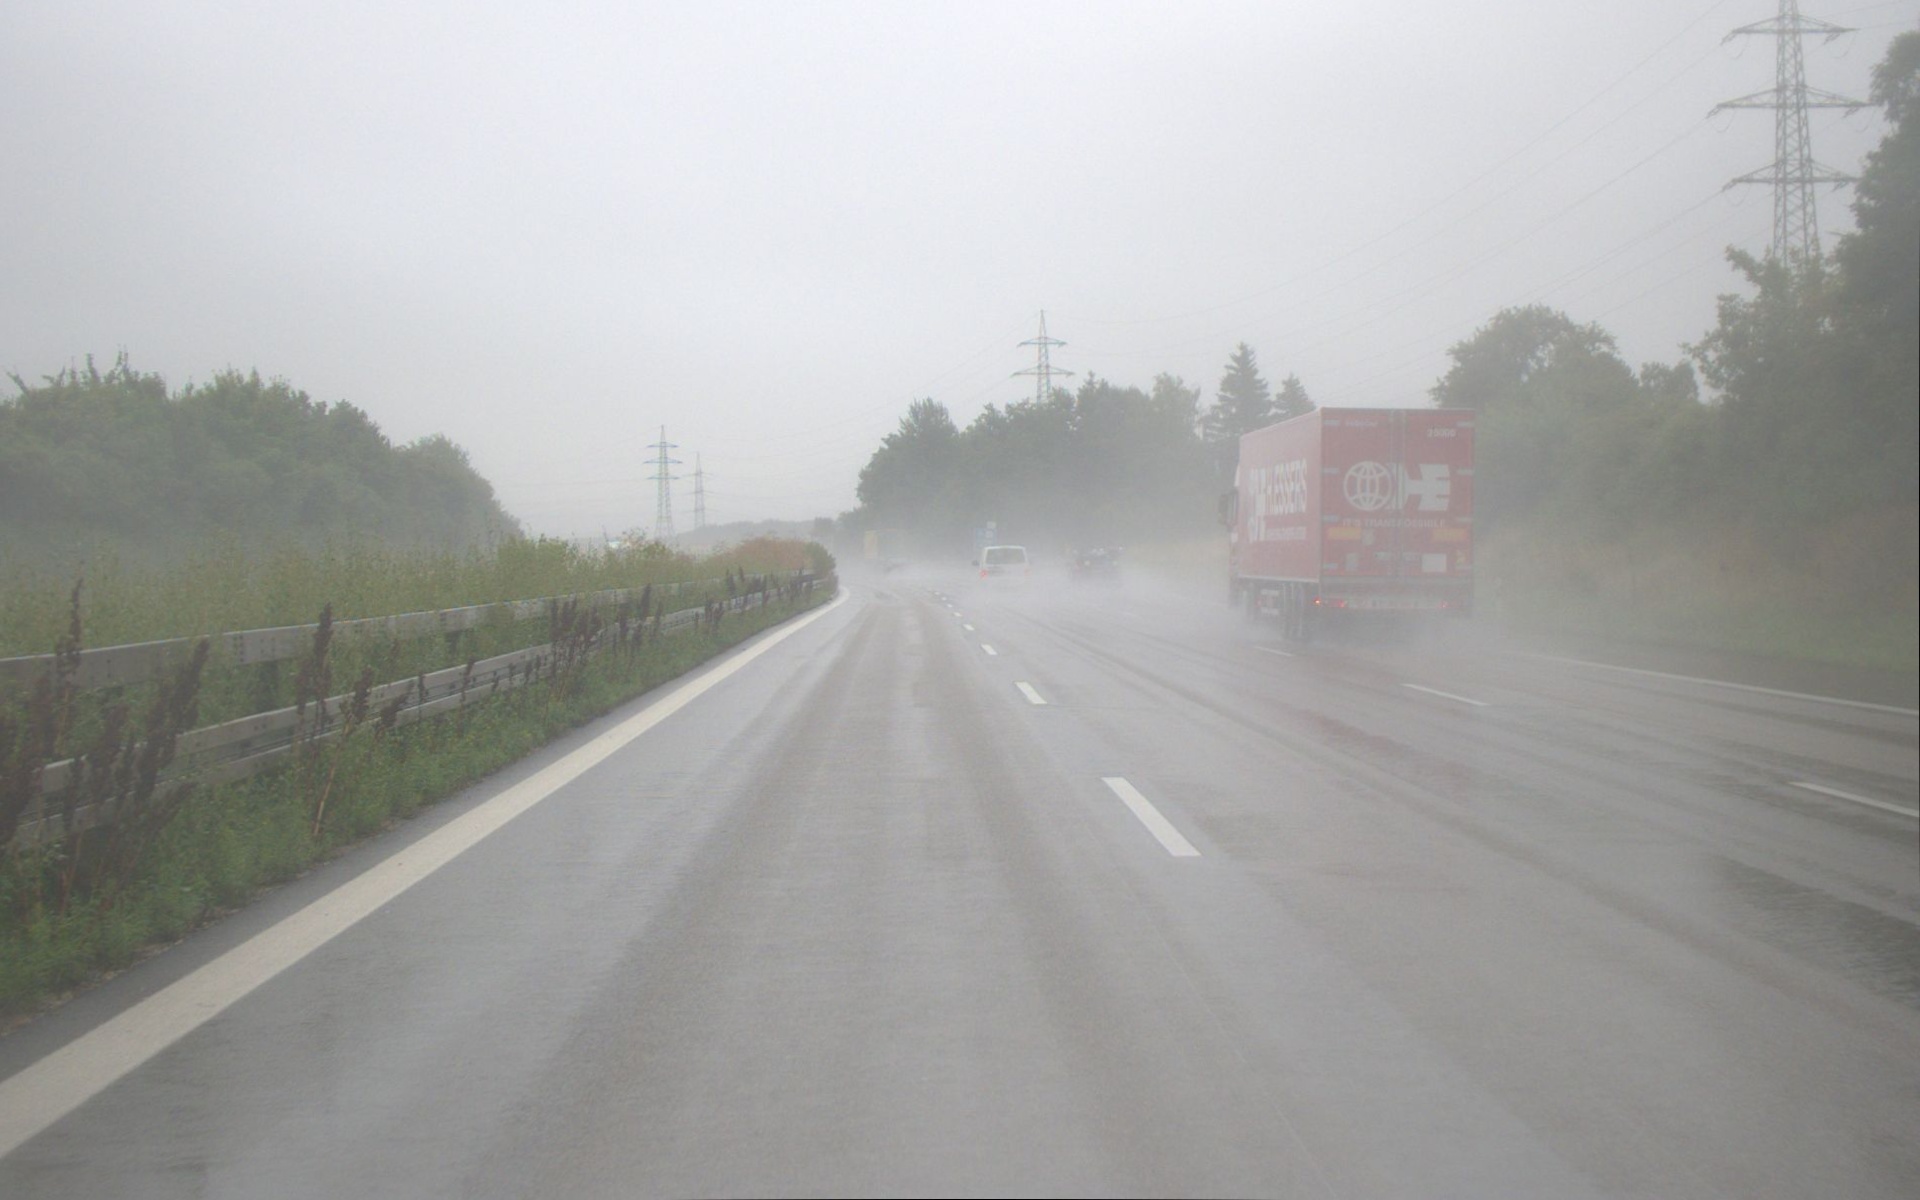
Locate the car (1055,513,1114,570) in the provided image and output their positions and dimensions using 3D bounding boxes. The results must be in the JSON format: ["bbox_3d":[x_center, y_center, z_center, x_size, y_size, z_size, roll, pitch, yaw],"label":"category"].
[{"bbox_3d":[4.980,-2.335,137.746,1.807,2.151,4.001,-3,1,-5],"label":"car"}]

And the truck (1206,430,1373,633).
[{"bbox_3d":[6.798,-1.403,71.648,2.620,3.942,5.433,-3,1,-2],"label":"truck"}]

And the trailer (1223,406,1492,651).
[{"bbox_3d":[7.125,-1.268,63.960,2.620,3.941,13.632,-3,1,-3],"label":"trailer"}]
